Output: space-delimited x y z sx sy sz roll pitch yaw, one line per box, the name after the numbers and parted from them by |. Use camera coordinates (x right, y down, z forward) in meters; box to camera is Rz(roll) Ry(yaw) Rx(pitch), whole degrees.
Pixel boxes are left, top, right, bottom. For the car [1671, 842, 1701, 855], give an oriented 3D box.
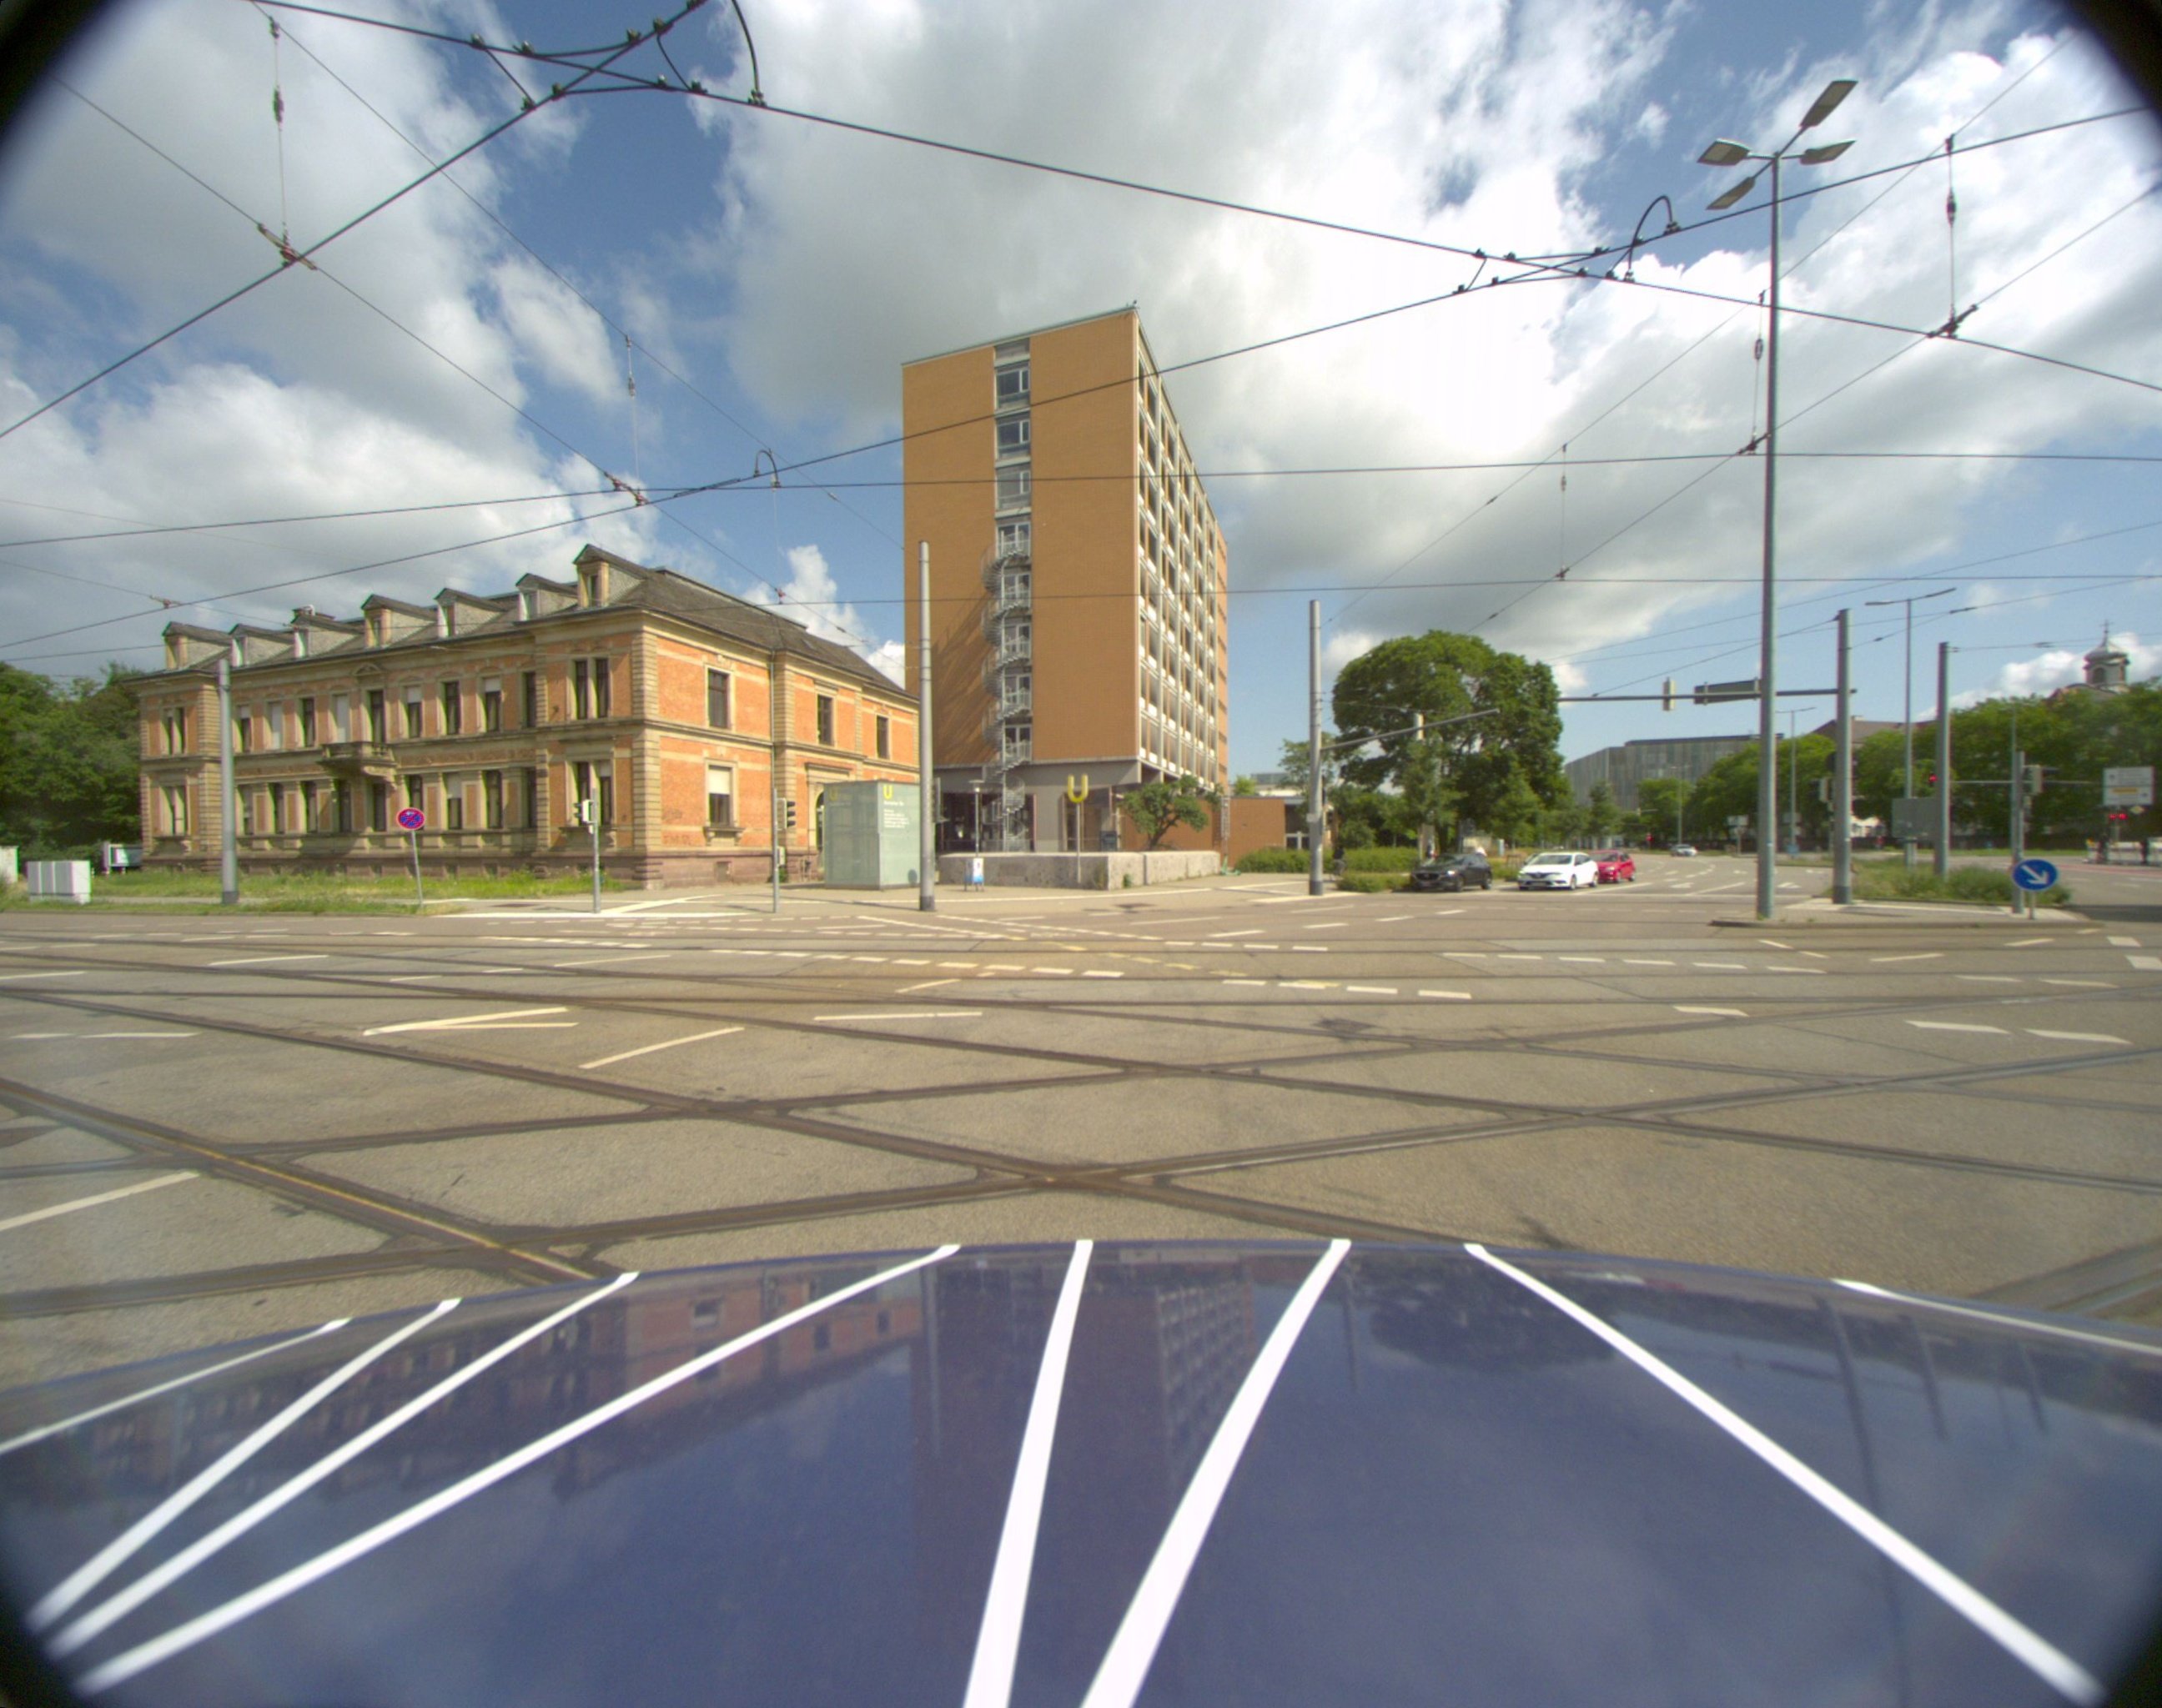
74.383 -0.646 93.437 1.827 1.517 4.006 0 1 23 | car

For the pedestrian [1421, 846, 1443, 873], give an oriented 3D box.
20.881 0.336 45.185 0.956 1.569 0.769 -1 1 3 | pedestrian

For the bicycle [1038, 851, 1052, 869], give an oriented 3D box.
-2.429 0.408 51.910 0.427 1.240 1.477 0 1 19 | bicycle

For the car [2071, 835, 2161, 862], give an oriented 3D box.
72.105 -0.404 52.553 2.002 1.772 3.992 -1 1 -22 | car

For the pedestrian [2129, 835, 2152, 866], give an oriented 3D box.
60.250 -0.218 43.214 1.003 1.754 0.651 -1 1 -43 | pedestrian

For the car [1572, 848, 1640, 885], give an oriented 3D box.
23.385 0.527 33.793 4.073 1.459 1.642 -2 0 -43 | car

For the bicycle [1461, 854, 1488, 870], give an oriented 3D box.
24.197 0.480 46.721 2.280 0.892 0.651 -1 1 -41 | bicycle

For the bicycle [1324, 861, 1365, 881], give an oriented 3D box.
12.386 0.802 35.669 1.812 0.870 0.759 0 3 -29 | bicycle

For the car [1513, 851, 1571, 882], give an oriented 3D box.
23.054 0.609 37.946 1.584 1.377 4.086 -2 0 44 | car

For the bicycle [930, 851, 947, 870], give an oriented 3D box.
-9.859 0.447 52.670 0.427 1.240 1.477 0 1 19 | bicycle

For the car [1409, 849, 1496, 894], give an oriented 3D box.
14.686 0.647 29.919 4.220 1.567 1.642 -2 0 -43 | car

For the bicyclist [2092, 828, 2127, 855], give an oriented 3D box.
61.485 -0.753 45.456 0.775 1.554 1.779 0 1 38 | bicyclist

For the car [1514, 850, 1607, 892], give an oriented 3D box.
18.712 0.622 29.579 4.683 1.421 1.758 -2 0 -41 | car

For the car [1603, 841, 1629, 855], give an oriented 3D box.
67.932 -0.727 96.445 1.995 1.745 4.006 0 1 25 | car

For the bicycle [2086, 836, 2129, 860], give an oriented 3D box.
61.376 -0.383 45.452 0.970 1.403 2.298 0 1 38 | bicycle

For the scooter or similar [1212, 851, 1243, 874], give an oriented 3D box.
7.815 0.439 40.415 1.537 1.176 0.434 1 1 -5 | scooter or similar

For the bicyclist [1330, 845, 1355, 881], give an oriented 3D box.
12.272 0.399 35.665 0.938 1.662 0.578 -1 2 -29 | bicyclist
